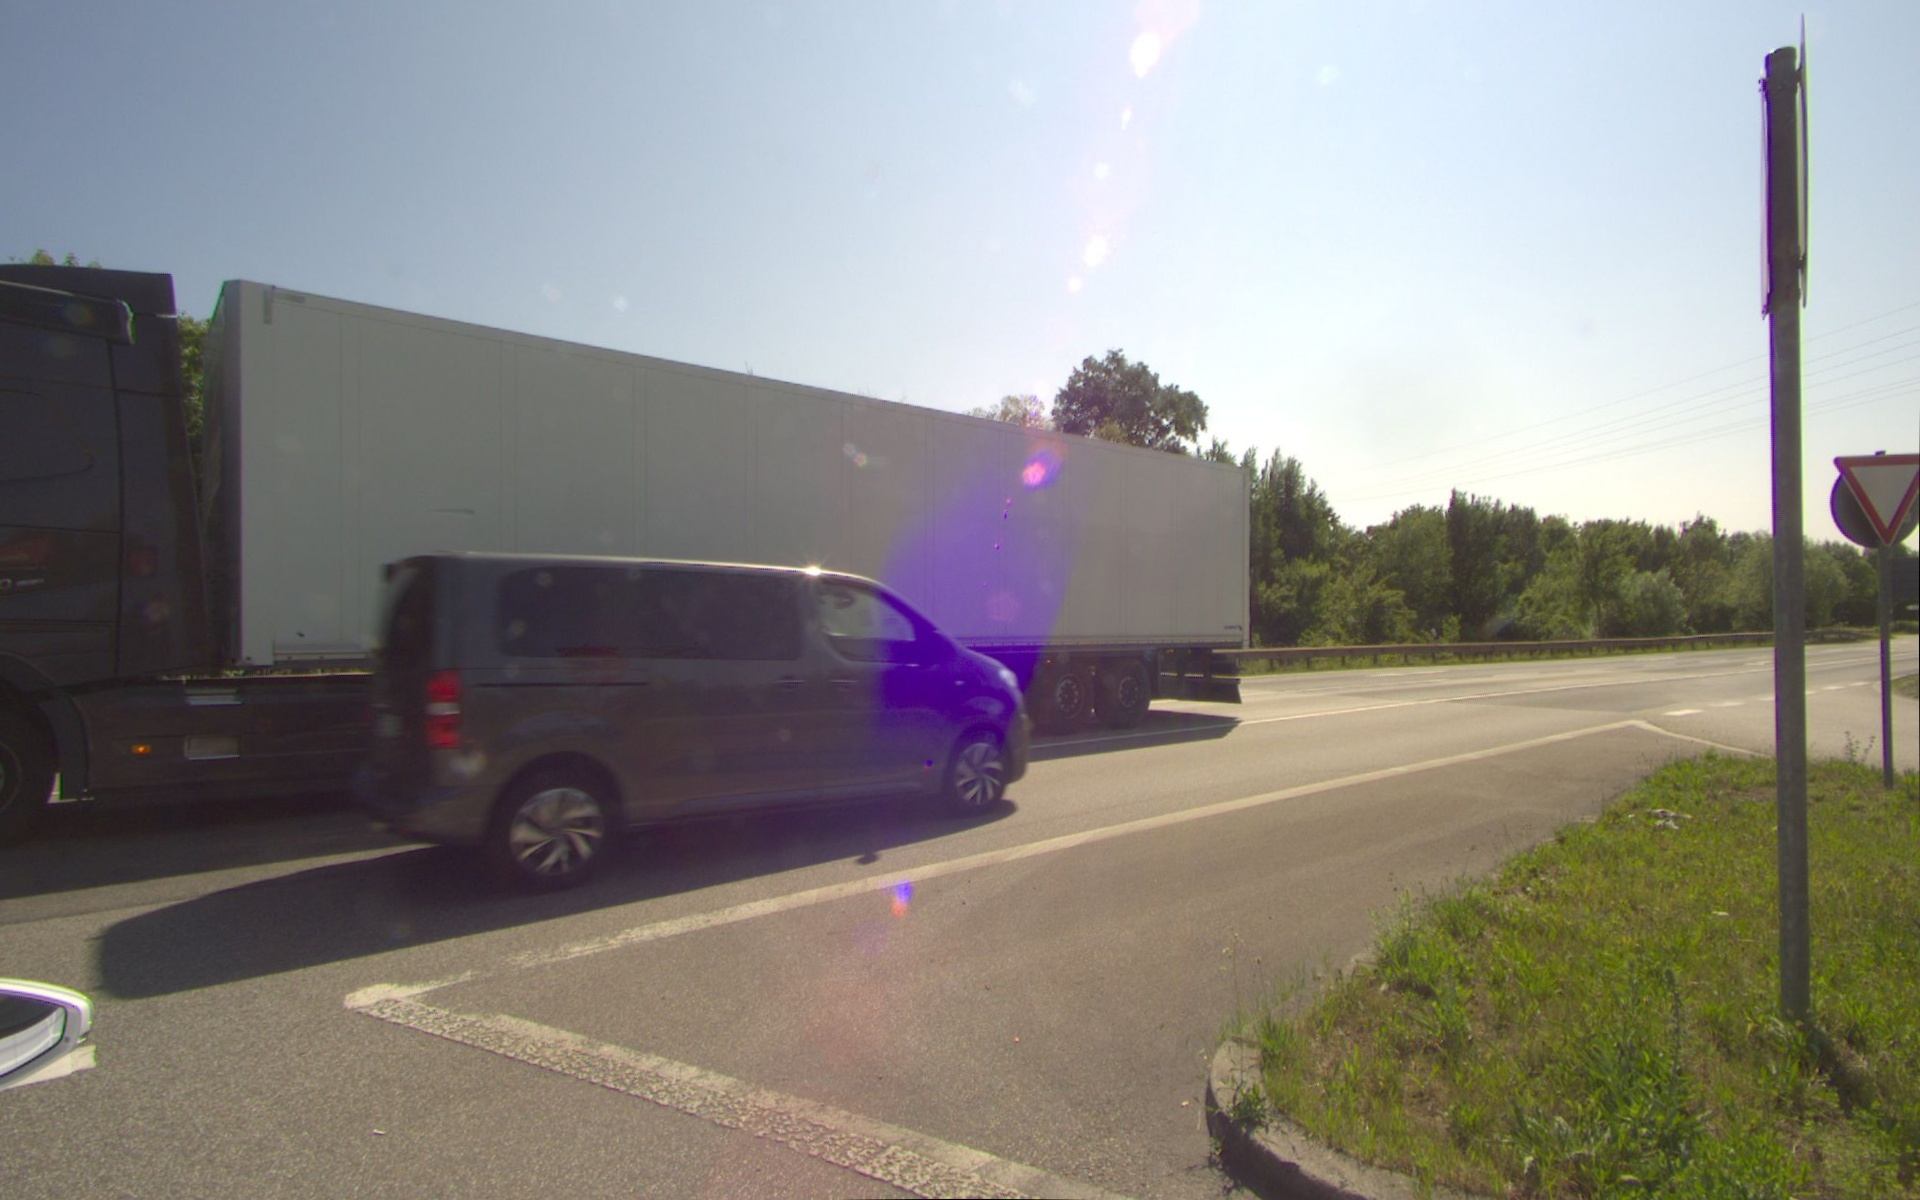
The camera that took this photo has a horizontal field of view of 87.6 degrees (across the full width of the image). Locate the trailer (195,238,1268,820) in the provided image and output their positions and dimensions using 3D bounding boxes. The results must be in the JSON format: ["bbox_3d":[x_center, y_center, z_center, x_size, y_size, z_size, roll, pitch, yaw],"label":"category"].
[{"bbox_3d":[-1.088,-0.378,12.921,13.832,4.219,2.871,1,-1,-41],"label":"trailer"}]

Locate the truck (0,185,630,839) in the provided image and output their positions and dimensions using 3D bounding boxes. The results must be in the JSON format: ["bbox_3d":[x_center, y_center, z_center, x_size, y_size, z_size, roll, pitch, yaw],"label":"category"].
[{"bbox_3d":[-6.204,-0.523,8.389,5.908,4.227,2.854,1,-1,-42],"label":"truck"}]

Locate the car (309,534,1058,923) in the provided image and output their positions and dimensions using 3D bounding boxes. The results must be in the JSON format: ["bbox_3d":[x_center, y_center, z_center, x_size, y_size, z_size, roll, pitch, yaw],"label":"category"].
[{"bbox_3d":[-1.677,0.674,7.312,4.942,1.903,1.982,1,-1,-42],"label":"car"}]
